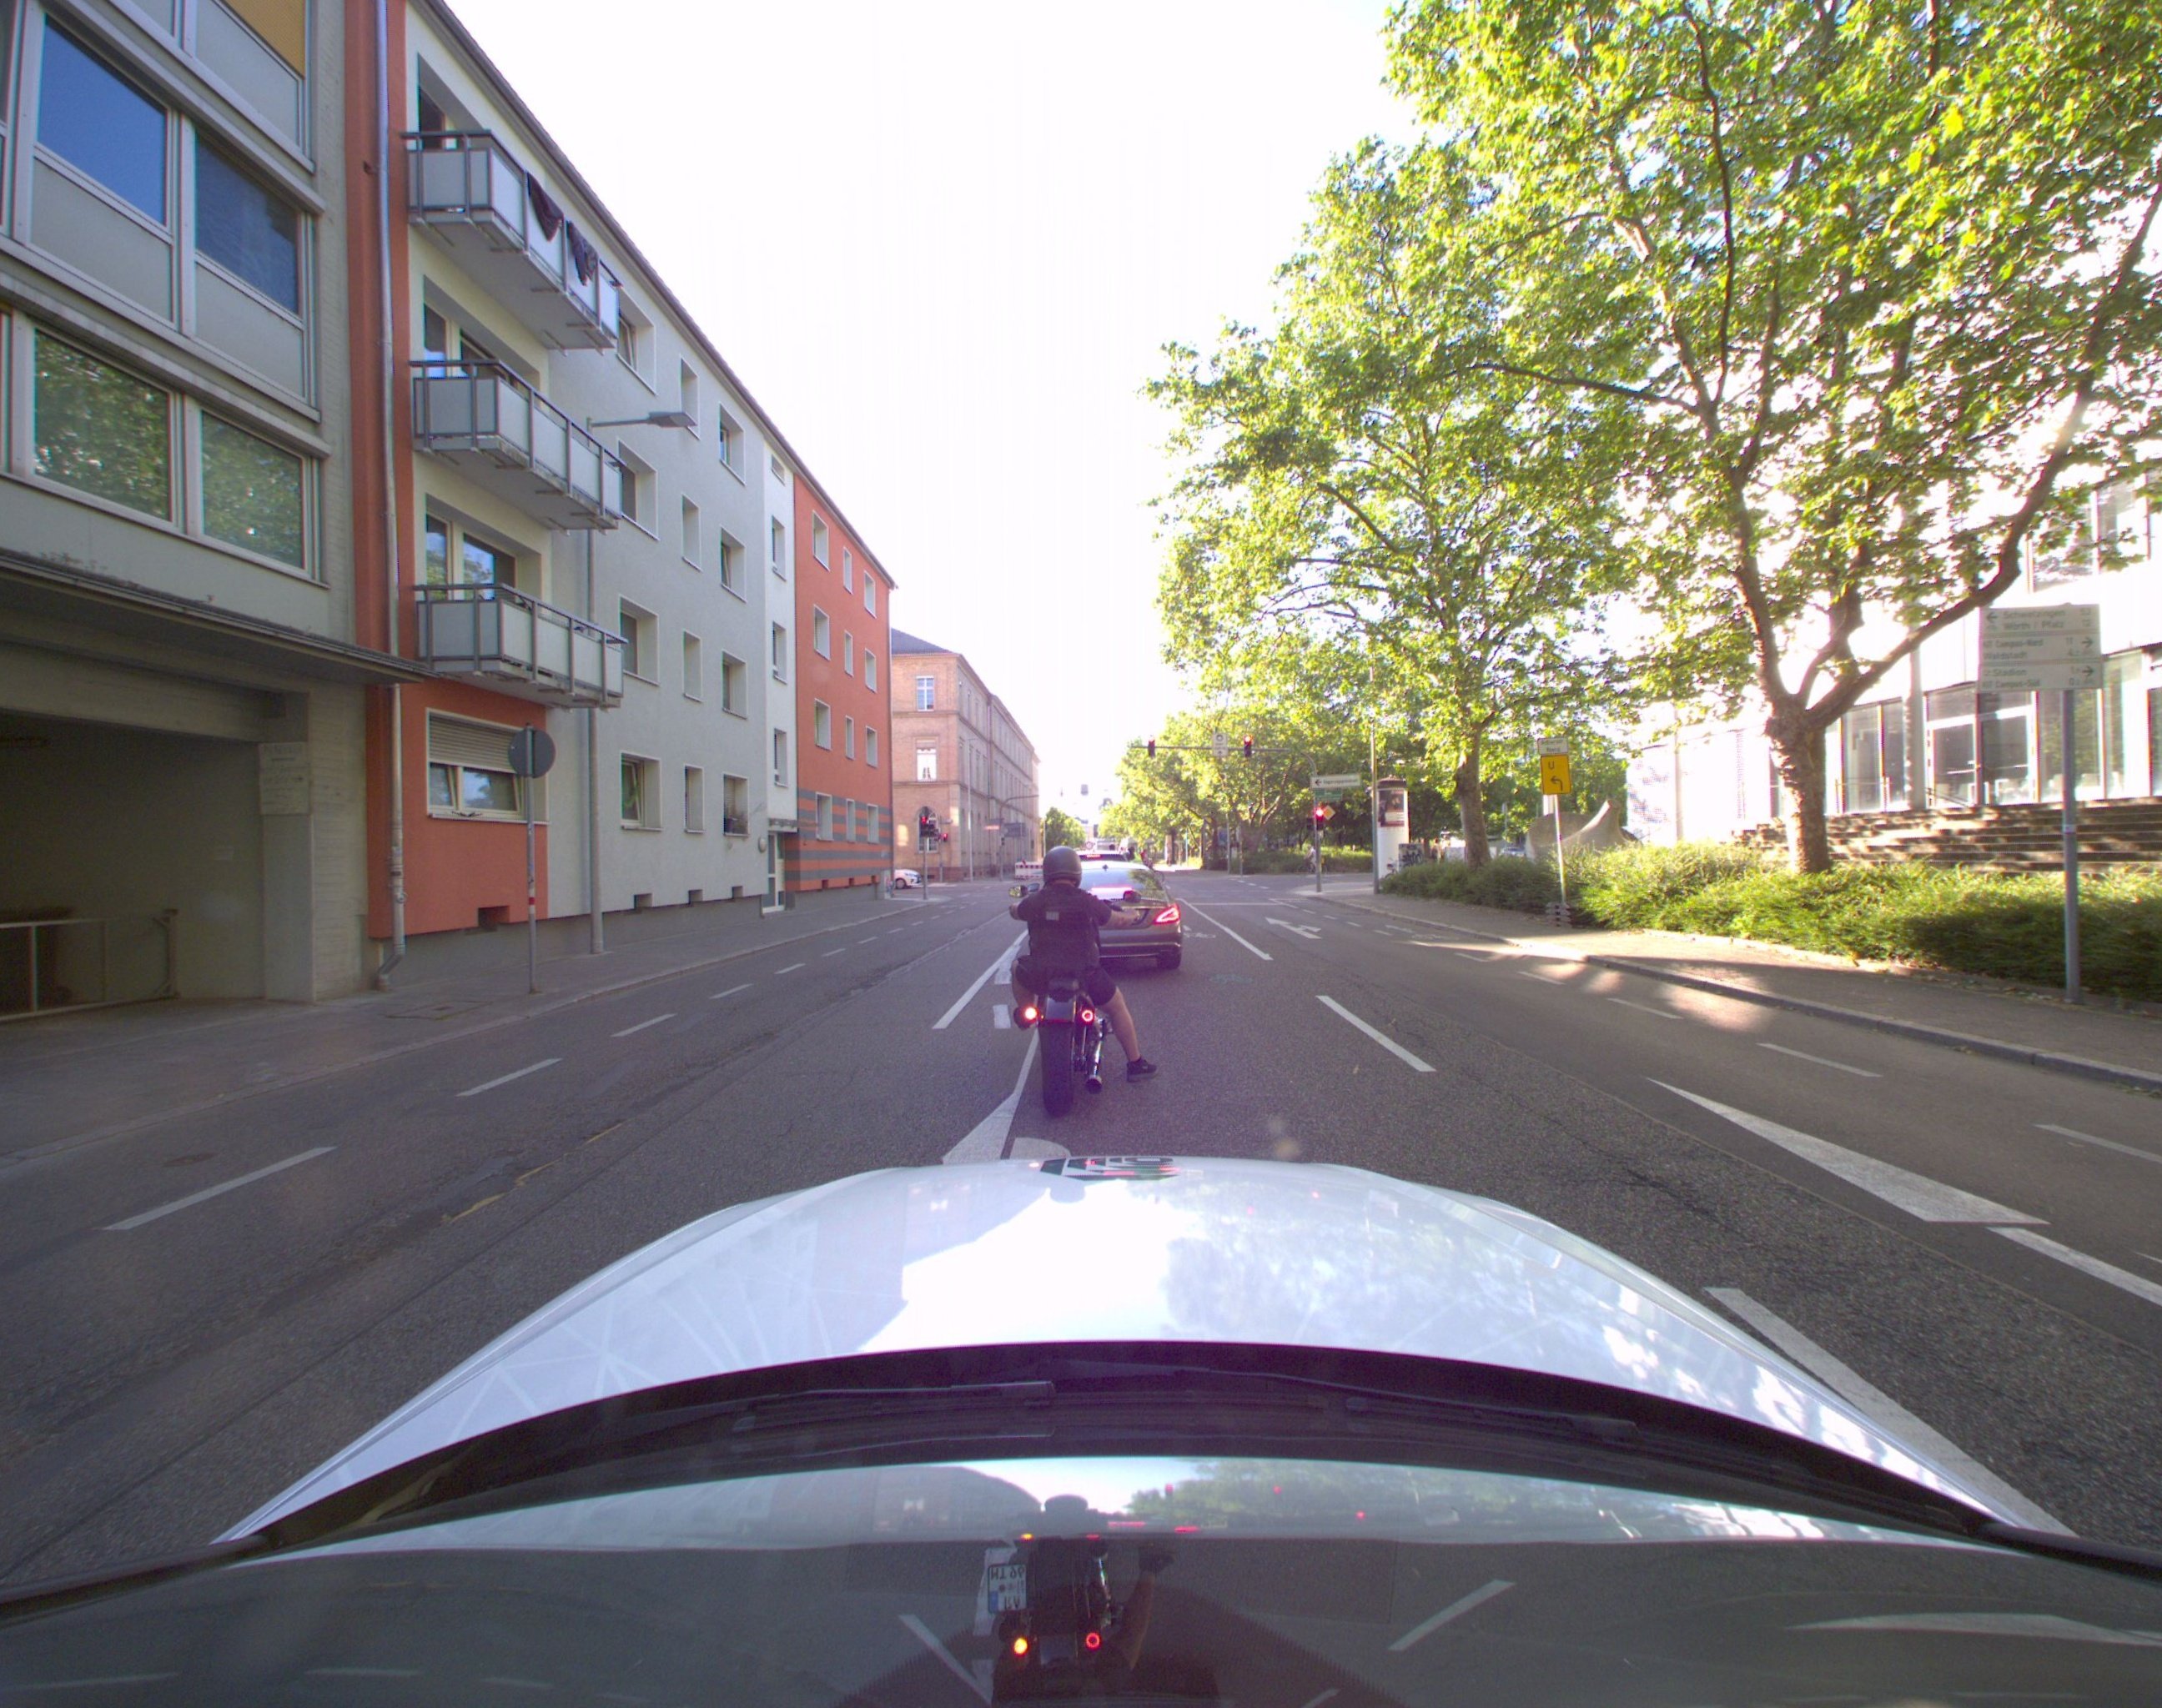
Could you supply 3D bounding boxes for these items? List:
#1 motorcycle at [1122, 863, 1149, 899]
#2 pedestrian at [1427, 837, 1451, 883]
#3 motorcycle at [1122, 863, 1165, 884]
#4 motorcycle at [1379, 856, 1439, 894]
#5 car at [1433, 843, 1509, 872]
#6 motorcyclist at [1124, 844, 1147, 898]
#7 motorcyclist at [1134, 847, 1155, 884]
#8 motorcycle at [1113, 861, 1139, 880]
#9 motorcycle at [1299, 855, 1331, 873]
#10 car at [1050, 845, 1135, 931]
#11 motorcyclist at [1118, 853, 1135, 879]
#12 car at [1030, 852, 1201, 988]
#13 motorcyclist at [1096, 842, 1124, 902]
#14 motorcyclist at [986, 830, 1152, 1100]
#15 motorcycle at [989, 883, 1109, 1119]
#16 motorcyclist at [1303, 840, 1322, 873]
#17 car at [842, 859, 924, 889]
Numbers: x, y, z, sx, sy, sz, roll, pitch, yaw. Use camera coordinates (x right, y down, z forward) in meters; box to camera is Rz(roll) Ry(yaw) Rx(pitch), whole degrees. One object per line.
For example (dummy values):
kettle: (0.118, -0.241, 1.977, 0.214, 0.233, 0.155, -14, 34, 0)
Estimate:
motorcycle: (1.788, 0.876, 26.855, 0.794, 1.131, 2.237, 0, -1, 2)
pedestrian: (14.433, 0.233, 32.803, 0.645, 1.827, 0.667, -1, 0, 1)
motorcycle: (2.962, 0.938, 38.599, 2.004, 0.962, 0.581, 0, -1, 2)
motorcycle: (11.071, 0.714, 27.543, 1.771, 1.243, 0.724, 0, -1, 7)
car: (24.630, 0.208, 51.521, 3.974, 1.772, 1.738, -1, 0, -1)
motorcyclist: (1.795, 0.566, 26.863, 0.714, 1.743, 0.751, 0, -1, 1)
motorcyclist: (3.013, 0.549, 38.606, 0.981, 1.722, 0.551, 0, -1, 2)
motorcycle: (2.669, 0.948, 48.264, 0.620, 1.097, 2.100, -1, -1, 32)
motorcycle: (13.333, 0.581, 46.453, 1.710, 1.002, 0.416, -1, 0, 6)
car: (0.292, 0.667, 17.750, 1.645, 1.652, 4.002, 0, -1, 2)
motorcyclist: (2.697, 0.725, 48.366, 0.637, 1.537, 0.949, -1, -1, 32)
car: (0.260, 0.746, 11.243, 1.821, 1.486, 4.325, 0, 0, -5)
motorcyclist: (0.900, 0.549, 25.162, 0.828, 1.788, 0.913, 0, -1, 1)
motorcyclist: (-0.054, 0.671, 5.447, 0.986, 1.611, 1.121, 0, -1, 1)
motorcycle: (-0.143, 0.851, 5.540, 0.657, 1.240, 2.058, 0, -1, 2)
motorcyclist: (13.206, 0.144, 46.441, 0.978, 1.876, 0.377, -1, -1, 6)
car: (-9.991, 0.999, 41.268, 3.734, 1.418, 1.439, -1, -1, -1)
